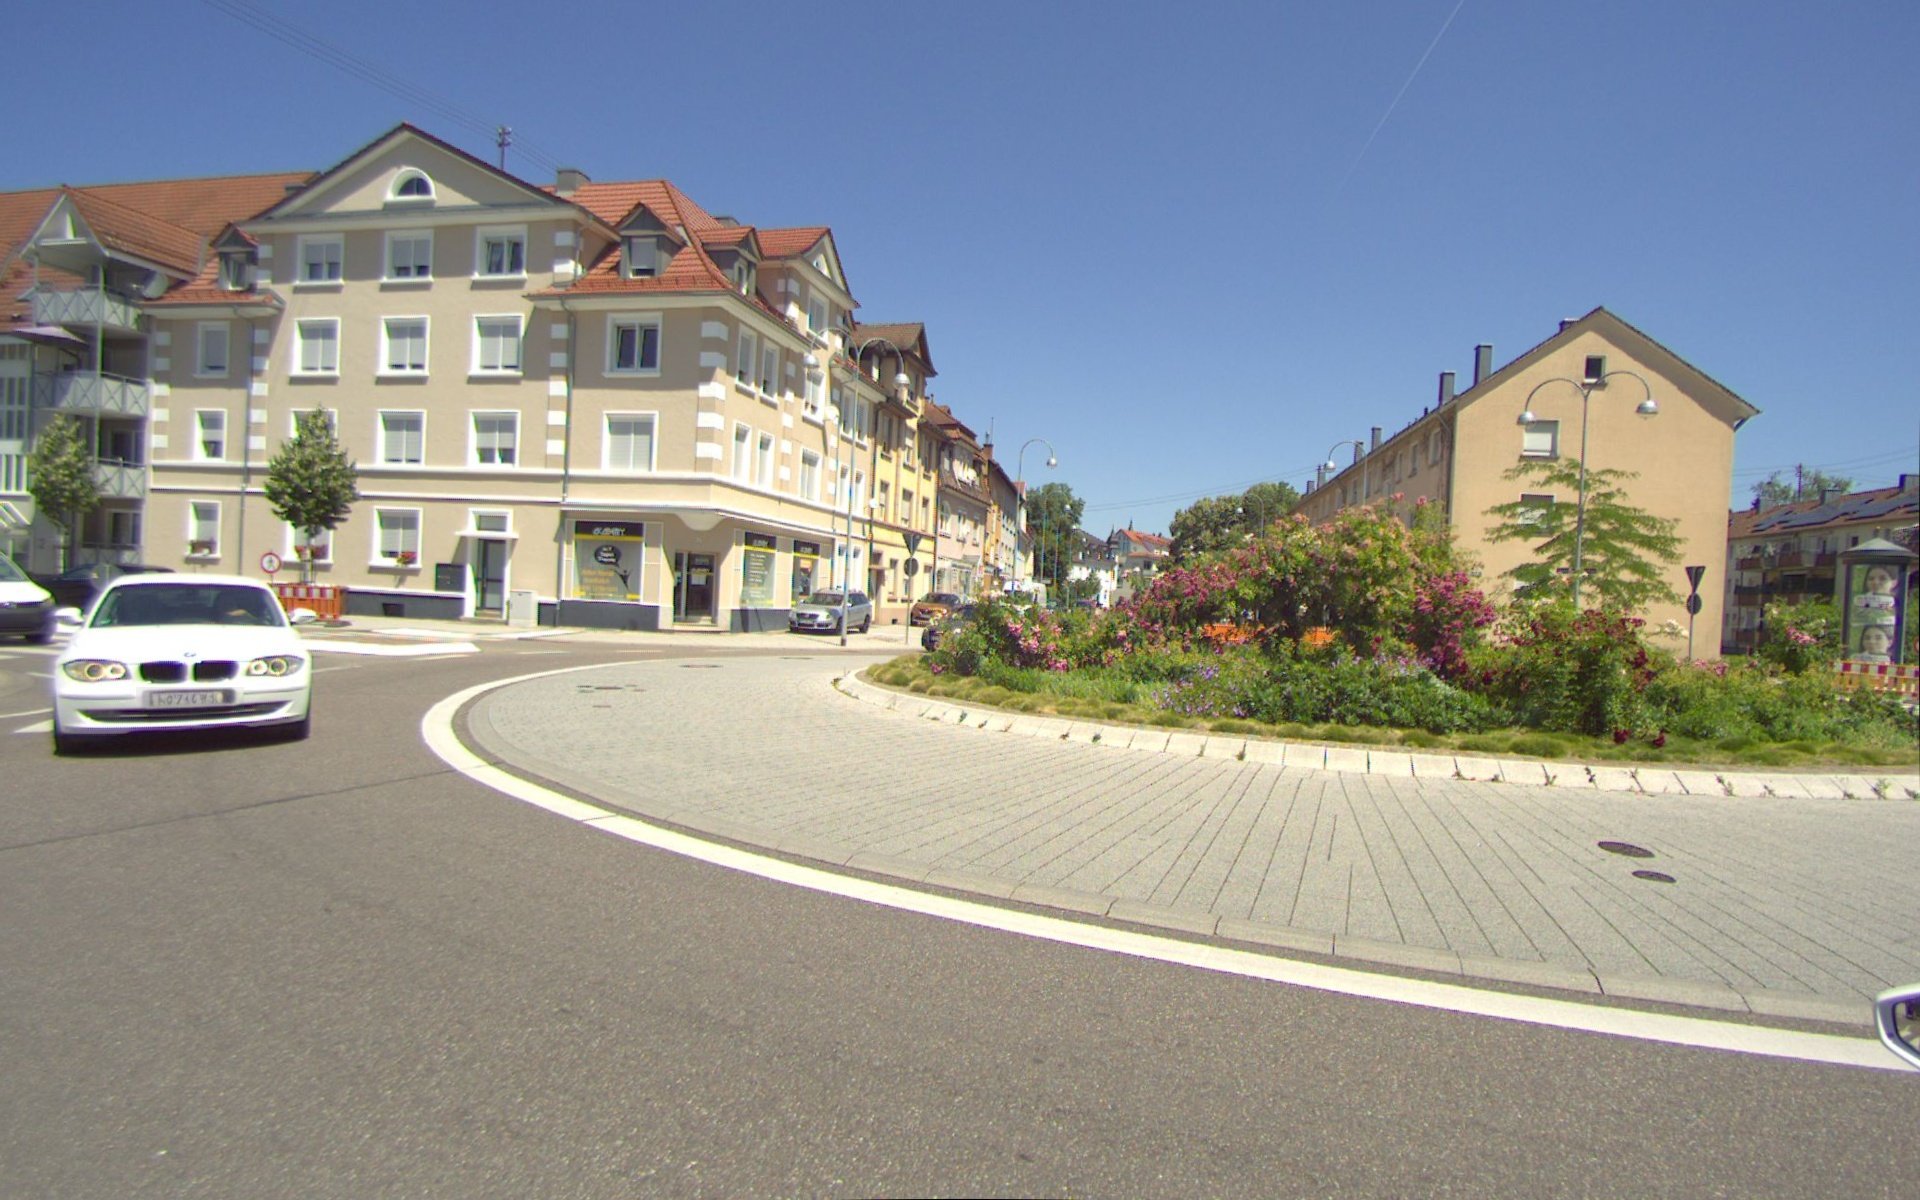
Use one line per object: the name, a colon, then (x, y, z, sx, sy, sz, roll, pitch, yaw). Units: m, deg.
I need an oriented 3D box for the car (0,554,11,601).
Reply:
car: (-32.302, -0.775, 30.691, 1.942, 1.512, 4.411, 2, 0, 16)

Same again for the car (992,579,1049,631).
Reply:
car: (3.453, 0.273, 56.052, 2.108, 2.566, 6.241, 5, 0, 12)

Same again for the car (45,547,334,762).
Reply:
car: (-7.046, 0.366, 9.552, 1.768, 1.572, 4.090, 1, 1, -33)

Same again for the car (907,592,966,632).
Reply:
car: (-1.026, 0.547, 46.496, 1.572, 1.638, 4.093, 5, 1, 14)

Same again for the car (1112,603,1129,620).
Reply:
car: (18.341, 1.281, 115.148, 1.782, 1.817, 4.002, 5, 0, 9)

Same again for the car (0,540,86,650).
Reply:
car: (-17.616, -0.187, 17.452, 4.160, 1.801, 1.781, 3, 0, 19)

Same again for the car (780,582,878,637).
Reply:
car: (-4.455, 0.340, 35.022, 1.745, 1.708, 4.697, 3, 0, 14)
